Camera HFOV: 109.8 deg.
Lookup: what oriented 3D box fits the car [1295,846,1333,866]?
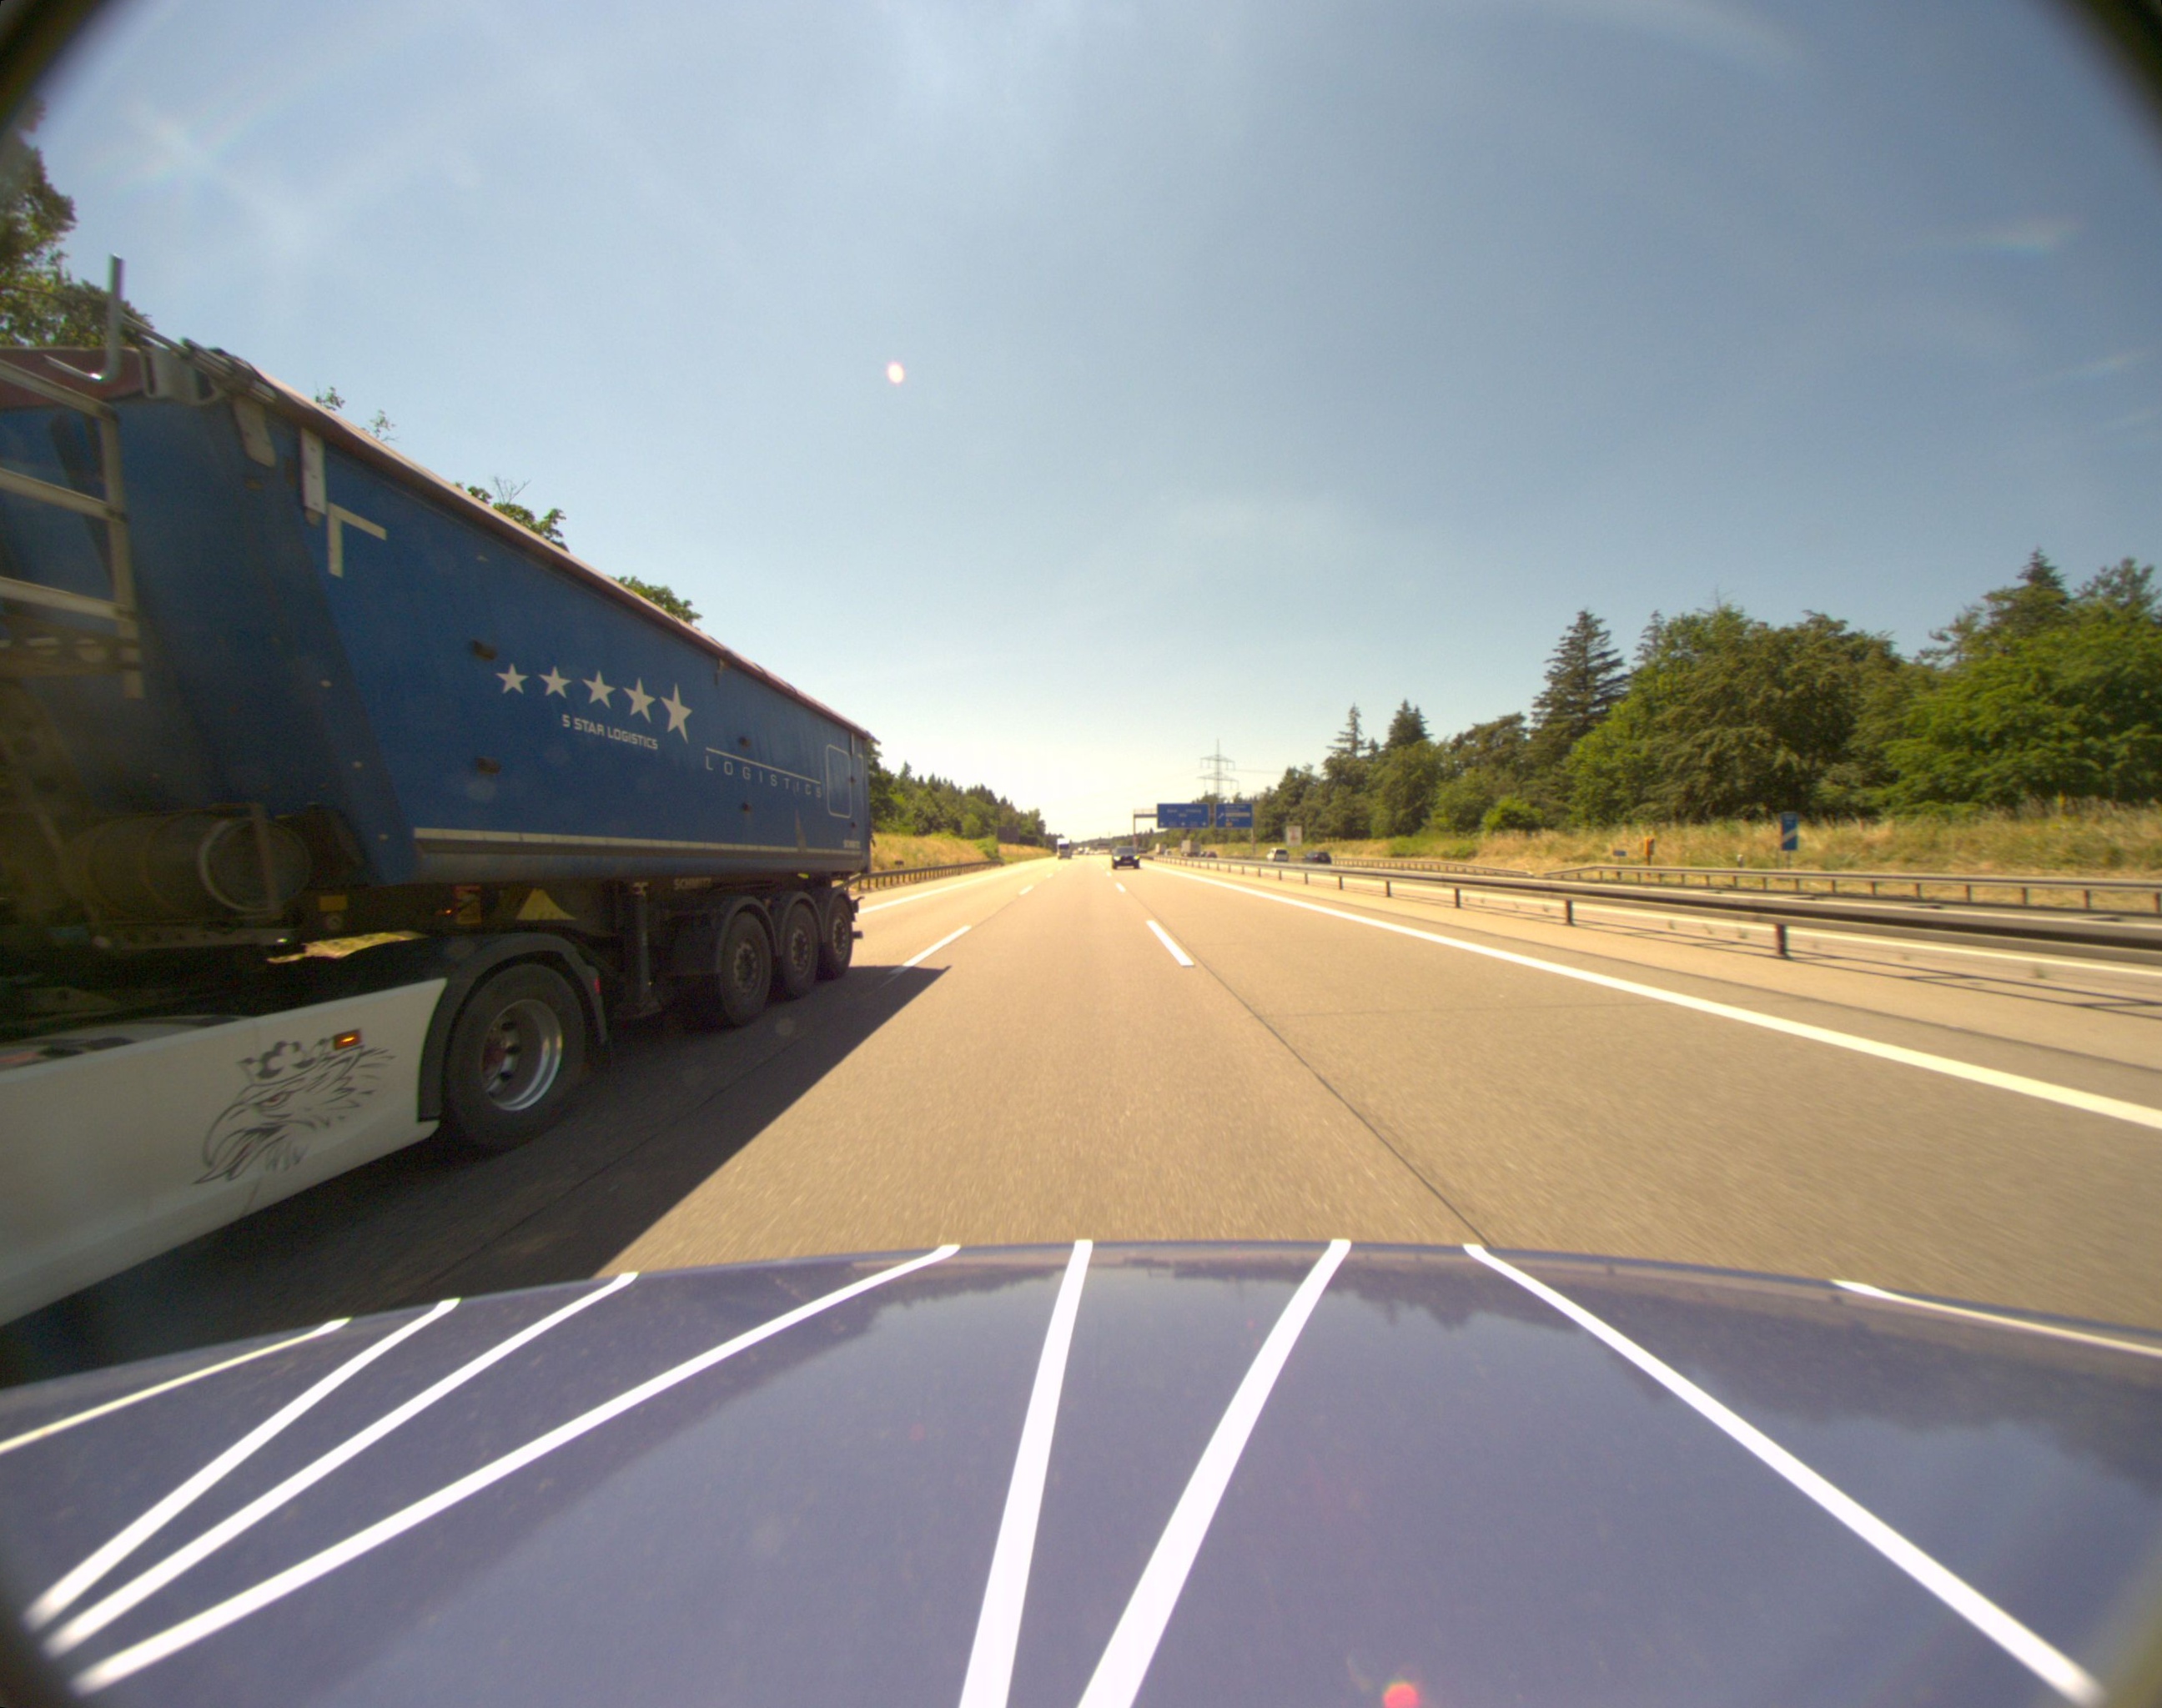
[{"bbox_3d":[21.671,0.159,70.826,1.998,1.694,4.978,1,1,0],"label":"car"}]

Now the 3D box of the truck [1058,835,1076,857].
[{"bbox_3d":[-2.741,-1.587,148.632,2.979,4.118,5.349,-1,0,3],"label":"truck"}]

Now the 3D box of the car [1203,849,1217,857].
[{"bbox_3d":[24.759,-0.206,146.133,1.931,1.455,4.942,-1,1,1],"label":"car"}]

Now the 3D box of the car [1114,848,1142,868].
[{"bbox_3d":[3.547,0.271,58.317,1.898,1.417,4.261,-2,0,1],"label":"car"}]

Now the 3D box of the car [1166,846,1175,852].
[{"bbox_3d":[27.482,-1.543,233.623,1.998,1.739,4.990,-2,1,0],"label":"car"}]

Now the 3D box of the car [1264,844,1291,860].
[{"bbox_3d":[23.289,-0.292,90.304,1.998,1.817,4.642,1,1,0],"label":"car"}]

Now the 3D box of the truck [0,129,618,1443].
[{"bbox_3d":[-4.416,-0.187,1.909,2.691,3.737,5.944,-1,0,1],"label":"truck"}]

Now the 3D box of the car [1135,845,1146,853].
[{"bbox_3d":[14.445,-1.158,183.609,2.285,1.929,4.942,-1,1,1],"label":"car"}]

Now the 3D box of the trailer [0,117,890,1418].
[{"bbox_3d":[-4.332,-0.204,6.754,2.744,3.736,9.109,-1,0,1],"label":"trailer"}]

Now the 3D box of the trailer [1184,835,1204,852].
[{"bbox_3d":[27.714,-2.577,187.162,3.176,3.908,13.964,-2,1,3],"label":"trailer"}]

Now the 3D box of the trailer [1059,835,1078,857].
[{"bbox_3d":[-2.486,-1.577,154.076,2.982,4.118,11.697,-1,0,3],"label":"trailer"}]

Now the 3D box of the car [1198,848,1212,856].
[{"bbox_3d":[26.869,-0.399,164.802,2.091,1.455,4.940,-1,2,1],"label":"car"}]

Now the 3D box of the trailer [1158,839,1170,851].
[{"bbox_3d":[28.576,-2.989,262.253,3.222,4.019,14.361,-2,1,2],"label":"trailer"}]
